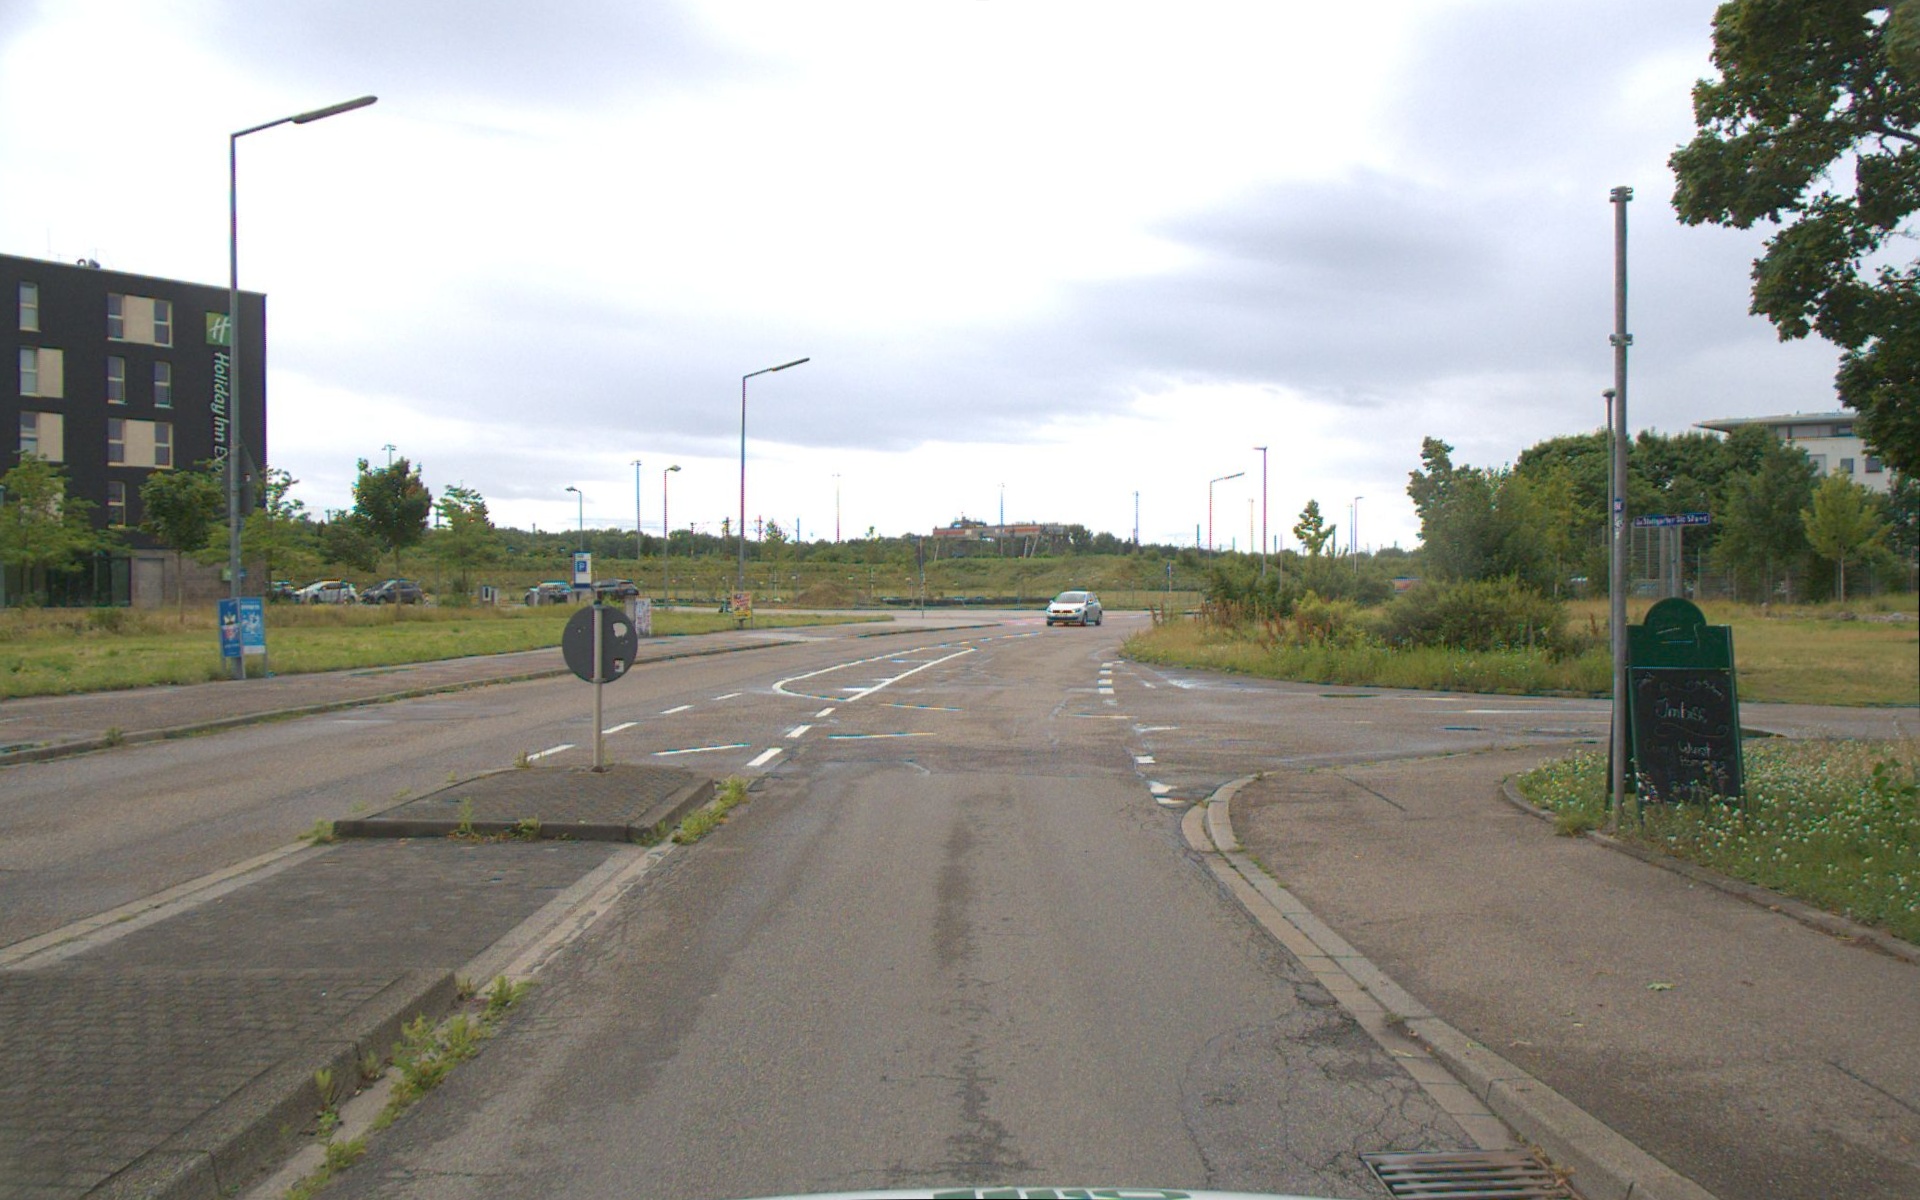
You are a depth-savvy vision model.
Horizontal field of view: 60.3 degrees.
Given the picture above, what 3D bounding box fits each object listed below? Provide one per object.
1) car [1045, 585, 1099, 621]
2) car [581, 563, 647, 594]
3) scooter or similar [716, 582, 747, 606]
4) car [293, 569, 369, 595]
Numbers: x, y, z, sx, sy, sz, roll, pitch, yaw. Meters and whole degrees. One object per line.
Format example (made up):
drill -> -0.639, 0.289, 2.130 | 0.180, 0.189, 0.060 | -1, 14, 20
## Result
car -> 4.956, 0.102, 72.713 | 1.636, 1.487, 4.060 | 2, 1, 14
car -> -21.307, -1.348, 101.777 | 3.924, 1.854, 1.991 | 1, 2, 39
scooter or similar -> -11.378, -0.308, 82.364 | 1.431, 1.188, 0.572 | 1, 1, 12
car -> -38.980, -1.130, 102.587 | 1.956, 1.544, 4.147 | 1, 2, 29
